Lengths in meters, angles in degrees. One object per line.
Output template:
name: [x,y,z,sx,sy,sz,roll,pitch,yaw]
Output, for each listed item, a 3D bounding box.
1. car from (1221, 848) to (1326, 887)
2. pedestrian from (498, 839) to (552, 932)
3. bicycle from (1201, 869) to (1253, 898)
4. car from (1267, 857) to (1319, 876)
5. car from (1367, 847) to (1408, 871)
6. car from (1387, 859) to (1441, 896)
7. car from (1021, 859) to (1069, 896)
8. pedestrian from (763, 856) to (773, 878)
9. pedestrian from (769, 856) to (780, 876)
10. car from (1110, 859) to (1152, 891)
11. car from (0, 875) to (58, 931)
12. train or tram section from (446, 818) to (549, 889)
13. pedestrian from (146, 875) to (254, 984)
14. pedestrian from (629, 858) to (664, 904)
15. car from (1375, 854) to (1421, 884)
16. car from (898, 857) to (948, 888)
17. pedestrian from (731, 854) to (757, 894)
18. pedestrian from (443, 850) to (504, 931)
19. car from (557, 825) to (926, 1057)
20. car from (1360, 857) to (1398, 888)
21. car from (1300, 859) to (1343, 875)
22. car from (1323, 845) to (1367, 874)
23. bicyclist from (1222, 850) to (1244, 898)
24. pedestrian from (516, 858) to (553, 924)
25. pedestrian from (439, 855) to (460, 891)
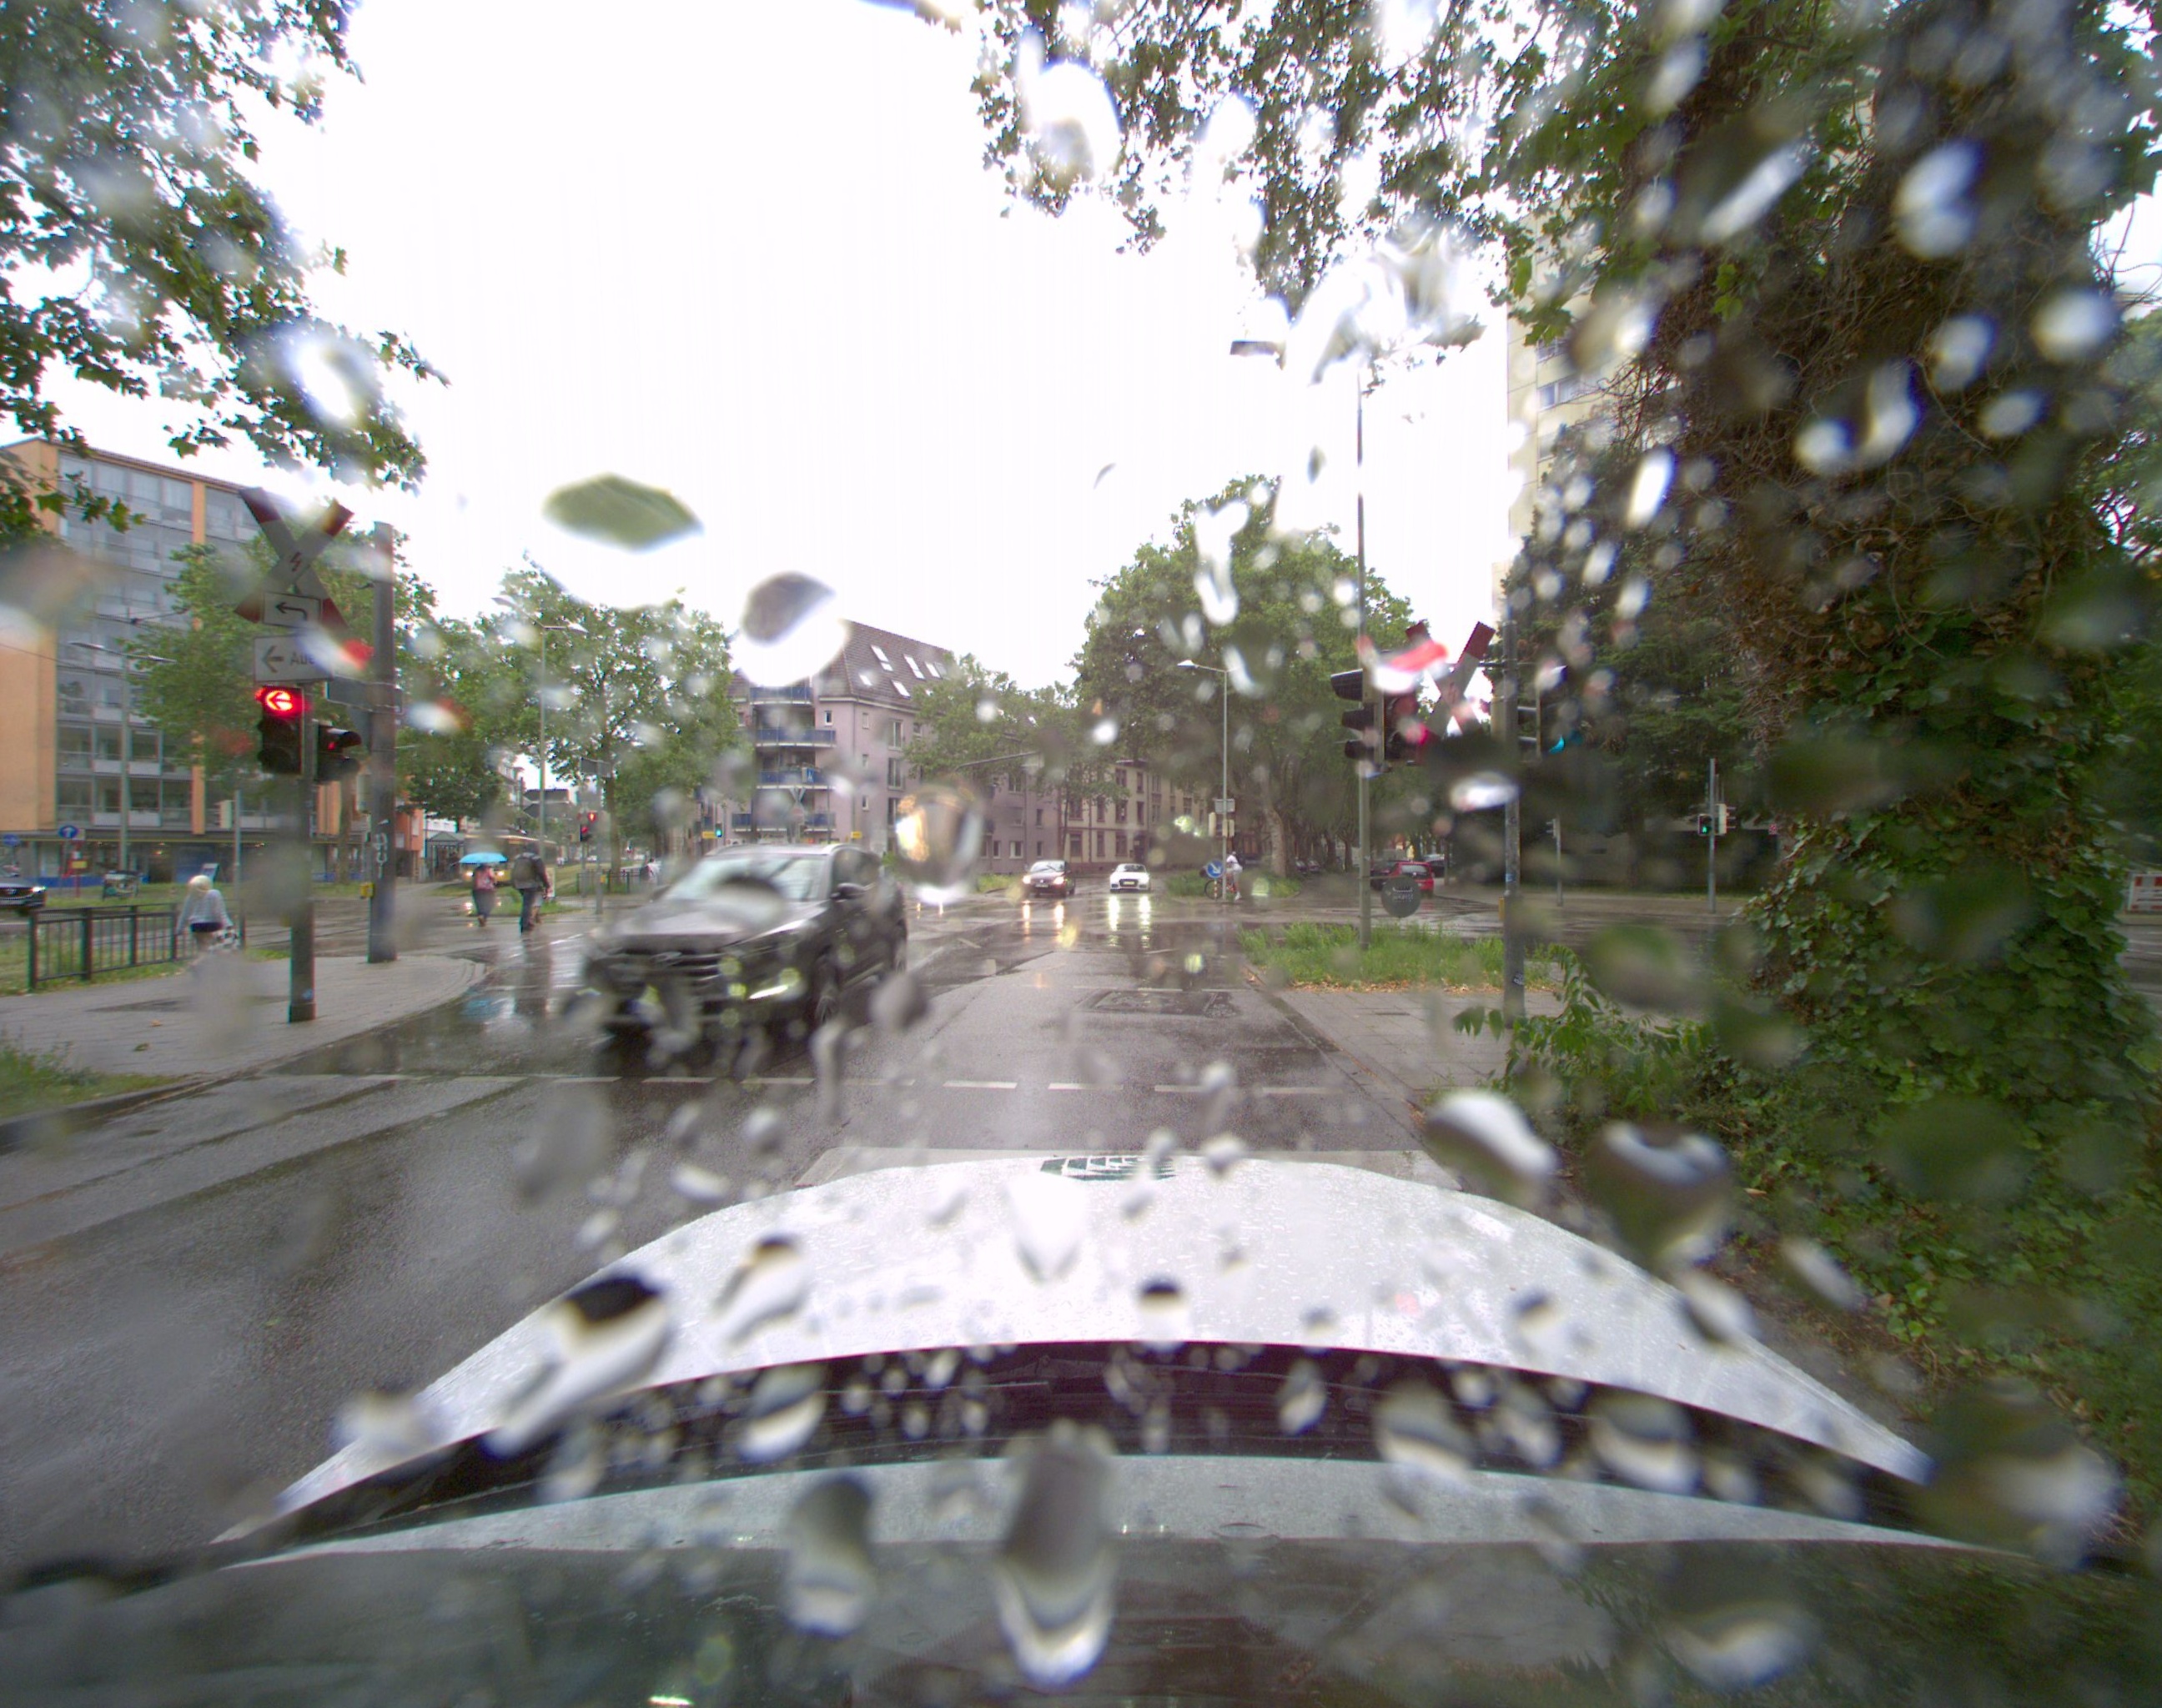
car: [7.712,0.540,32.663,3.958,1.486,2.008,-1,-1,14]
pedestrian: [-11.352,0.628,16.652,0.791,1.855,0.676,0,0,-22]
bicycle: [5.444,1.093,30.393,1.862,1.081,0.658,-1,-1,9]
car: [16.935,0.989,65.200,3.958,1.486,2.008,-1,-1,14]
car: [38.921,0.626,103.580,2.006,2.948,4.726,0,-1,-29]
car: [14.785,0.993,36.337,1.778,1.498,4.017,0,0,16]
car: [-1.446,0.940,33.809,1.708,1.459,3.748,-1,-1,1]
pedestrian: [-20.591,0.876,53.623,0.560,1.457,0.443,0,-1,-13]
pedestrian: [-19.927,0.782,52.926,0.440,1.329,0.565,-1,-1,44]
car: [2.417,0.965,39.198,1.876,1.436,4.004,0,0,4]
car: [-32.253,1.402,23.587,3.994,1.530,1.615,0,1,12]
train or tram section: [-36.224,0.056,51.287,2.897,3.768,17.089,0,-1,-28]
pedestrian: [-11.492,0.958,10.647,0.657,1.349,0.706,0,0,-12]
pedestrian: [-15.232,0.940,28.585,0.671,1.600,0.968,-1,-1,2]
car: [15.851,0.708,40.873,1.770,1.348,3.945,0,1,16]
car: [-8.050,0.897,41.835,1.745,1.512,3.839,0,0,1]
pedestrian: [-13.207,0.775,31.949,0.749,1.533,0.789,0,-1,-9]
pedestrian: [-13.696,0.805,18.400,0.962,1.766,0.944,0,-1,-28]
car: [-2.980,0.641,8.403,1.797,1.682,4.603,-2,0,0]
car: [17.280,1.073,47.429,1.769,1.727,4.017,-1,-1,16]
car: [23.080,1.258,78.266,3.958,1.547,2.008,-1,-1,14]
car: [28.261,0.586,87.224,2.040,2.948,4.742,0,-1,-18]
bicyclist: [5.651,0.739,30.366,0.790,1.786,0.699,-1,-1,9]
pedestrian: [-11.988,0.799,17.890,0.653,1.396,0.774,0,0,-33]
pedestrian: [-38.109,1.125,49.172,0.889,2.151,0.902,0,-1,-30]
